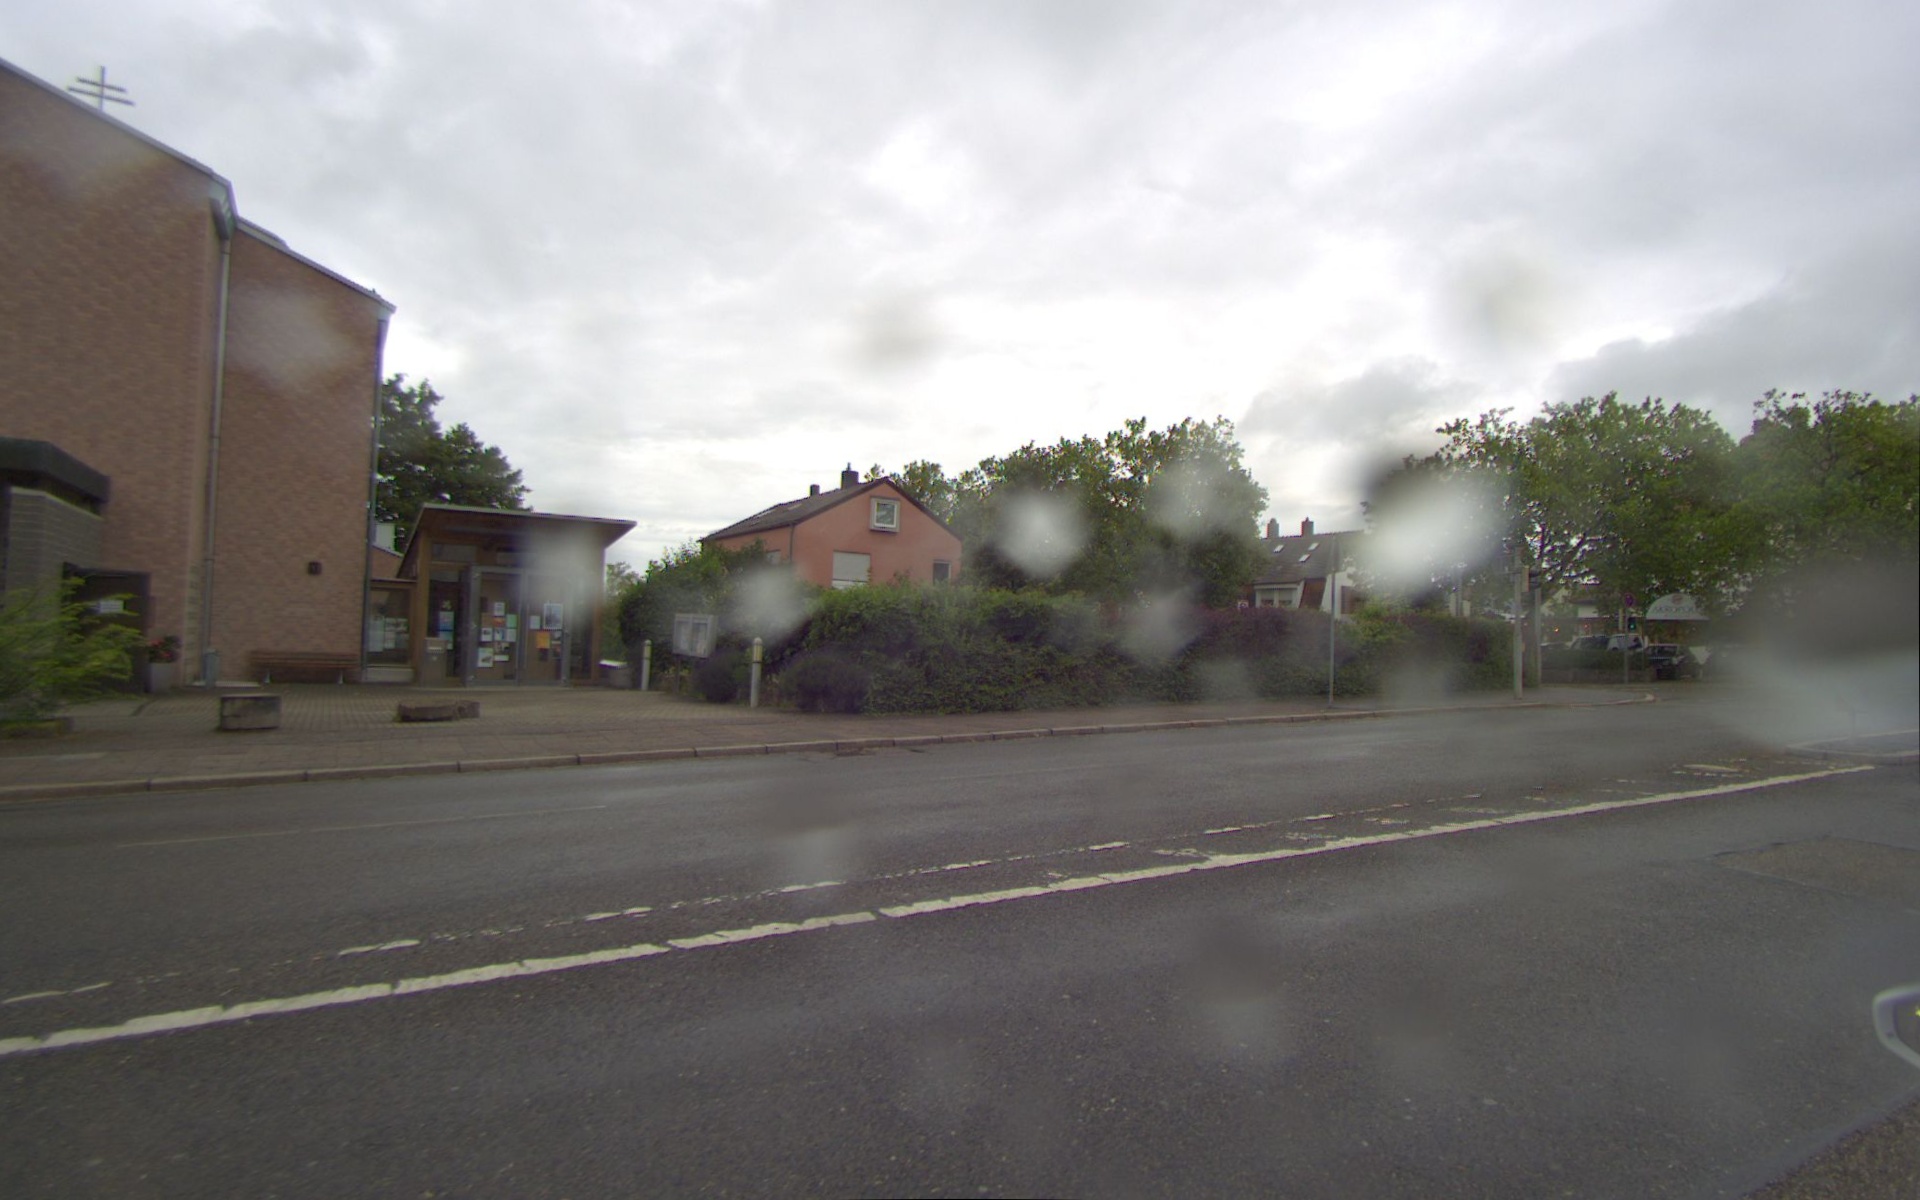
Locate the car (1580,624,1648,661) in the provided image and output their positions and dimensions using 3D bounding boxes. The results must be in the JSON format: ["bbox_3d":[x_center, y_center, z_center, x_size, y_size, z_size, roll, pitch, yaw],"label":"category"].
[{"bbox_3d":[38.706,2.548,59.413,3.959,2.040,1.981,2,0,-34],"label":"car"}]

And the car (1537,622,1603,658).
[{"bbox_3d":[37.296,2.444,61.416,3.959,2.040,1.981,2,0,-34],"label":"car"}]

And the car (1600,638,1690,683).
[{"bbox_3d":[29.596,2.561,43.365,3.955,1.573,1.798,-2,2,-32],"label":"car"}]
